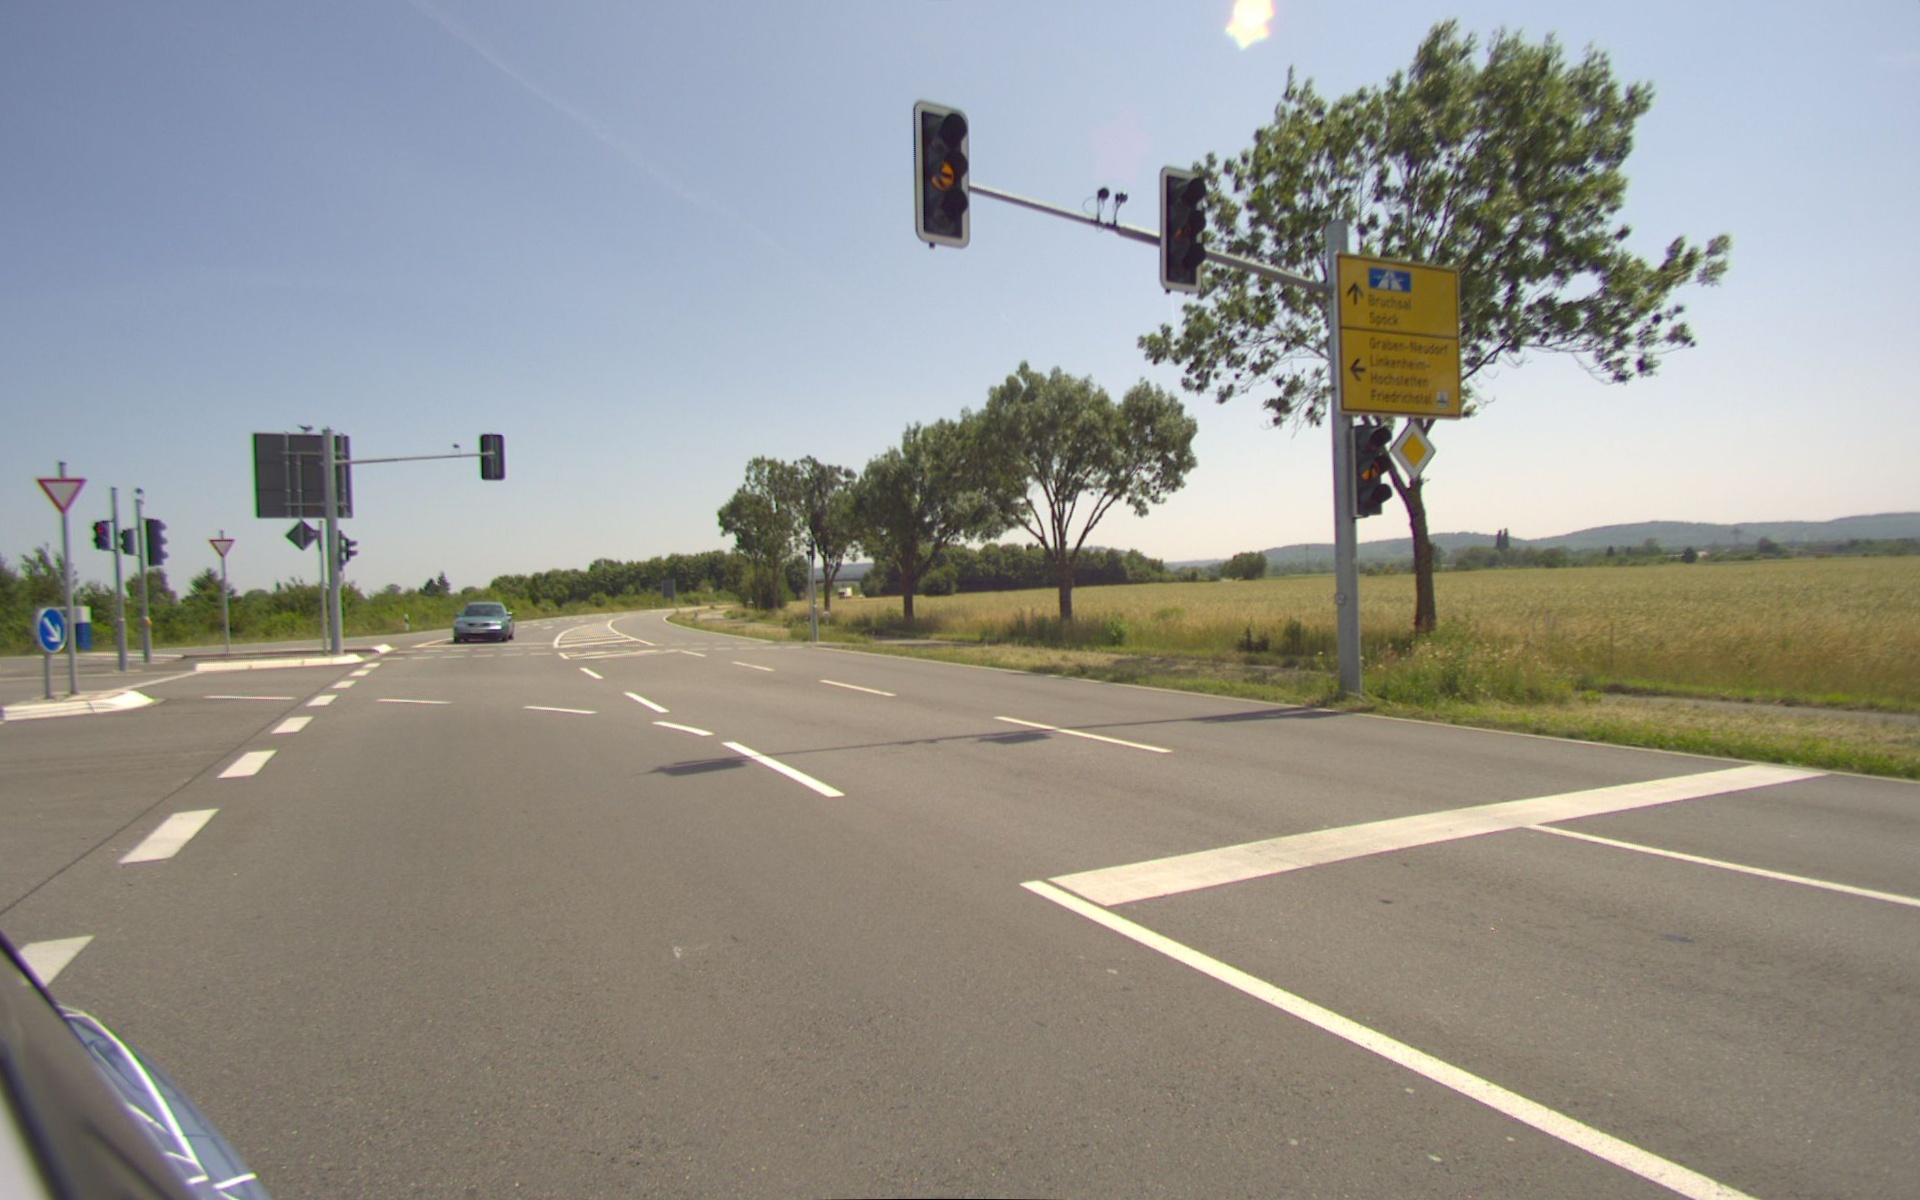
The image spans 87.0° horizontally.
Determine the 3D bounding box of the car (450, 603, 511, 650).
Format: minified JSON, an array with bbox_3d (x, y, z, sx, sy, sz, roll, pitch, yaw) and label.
[{"bbox_3d":[-17.267,0.934,36.581,1.629,1.578,4.013,-1,0,-21],"label":"car"}]
